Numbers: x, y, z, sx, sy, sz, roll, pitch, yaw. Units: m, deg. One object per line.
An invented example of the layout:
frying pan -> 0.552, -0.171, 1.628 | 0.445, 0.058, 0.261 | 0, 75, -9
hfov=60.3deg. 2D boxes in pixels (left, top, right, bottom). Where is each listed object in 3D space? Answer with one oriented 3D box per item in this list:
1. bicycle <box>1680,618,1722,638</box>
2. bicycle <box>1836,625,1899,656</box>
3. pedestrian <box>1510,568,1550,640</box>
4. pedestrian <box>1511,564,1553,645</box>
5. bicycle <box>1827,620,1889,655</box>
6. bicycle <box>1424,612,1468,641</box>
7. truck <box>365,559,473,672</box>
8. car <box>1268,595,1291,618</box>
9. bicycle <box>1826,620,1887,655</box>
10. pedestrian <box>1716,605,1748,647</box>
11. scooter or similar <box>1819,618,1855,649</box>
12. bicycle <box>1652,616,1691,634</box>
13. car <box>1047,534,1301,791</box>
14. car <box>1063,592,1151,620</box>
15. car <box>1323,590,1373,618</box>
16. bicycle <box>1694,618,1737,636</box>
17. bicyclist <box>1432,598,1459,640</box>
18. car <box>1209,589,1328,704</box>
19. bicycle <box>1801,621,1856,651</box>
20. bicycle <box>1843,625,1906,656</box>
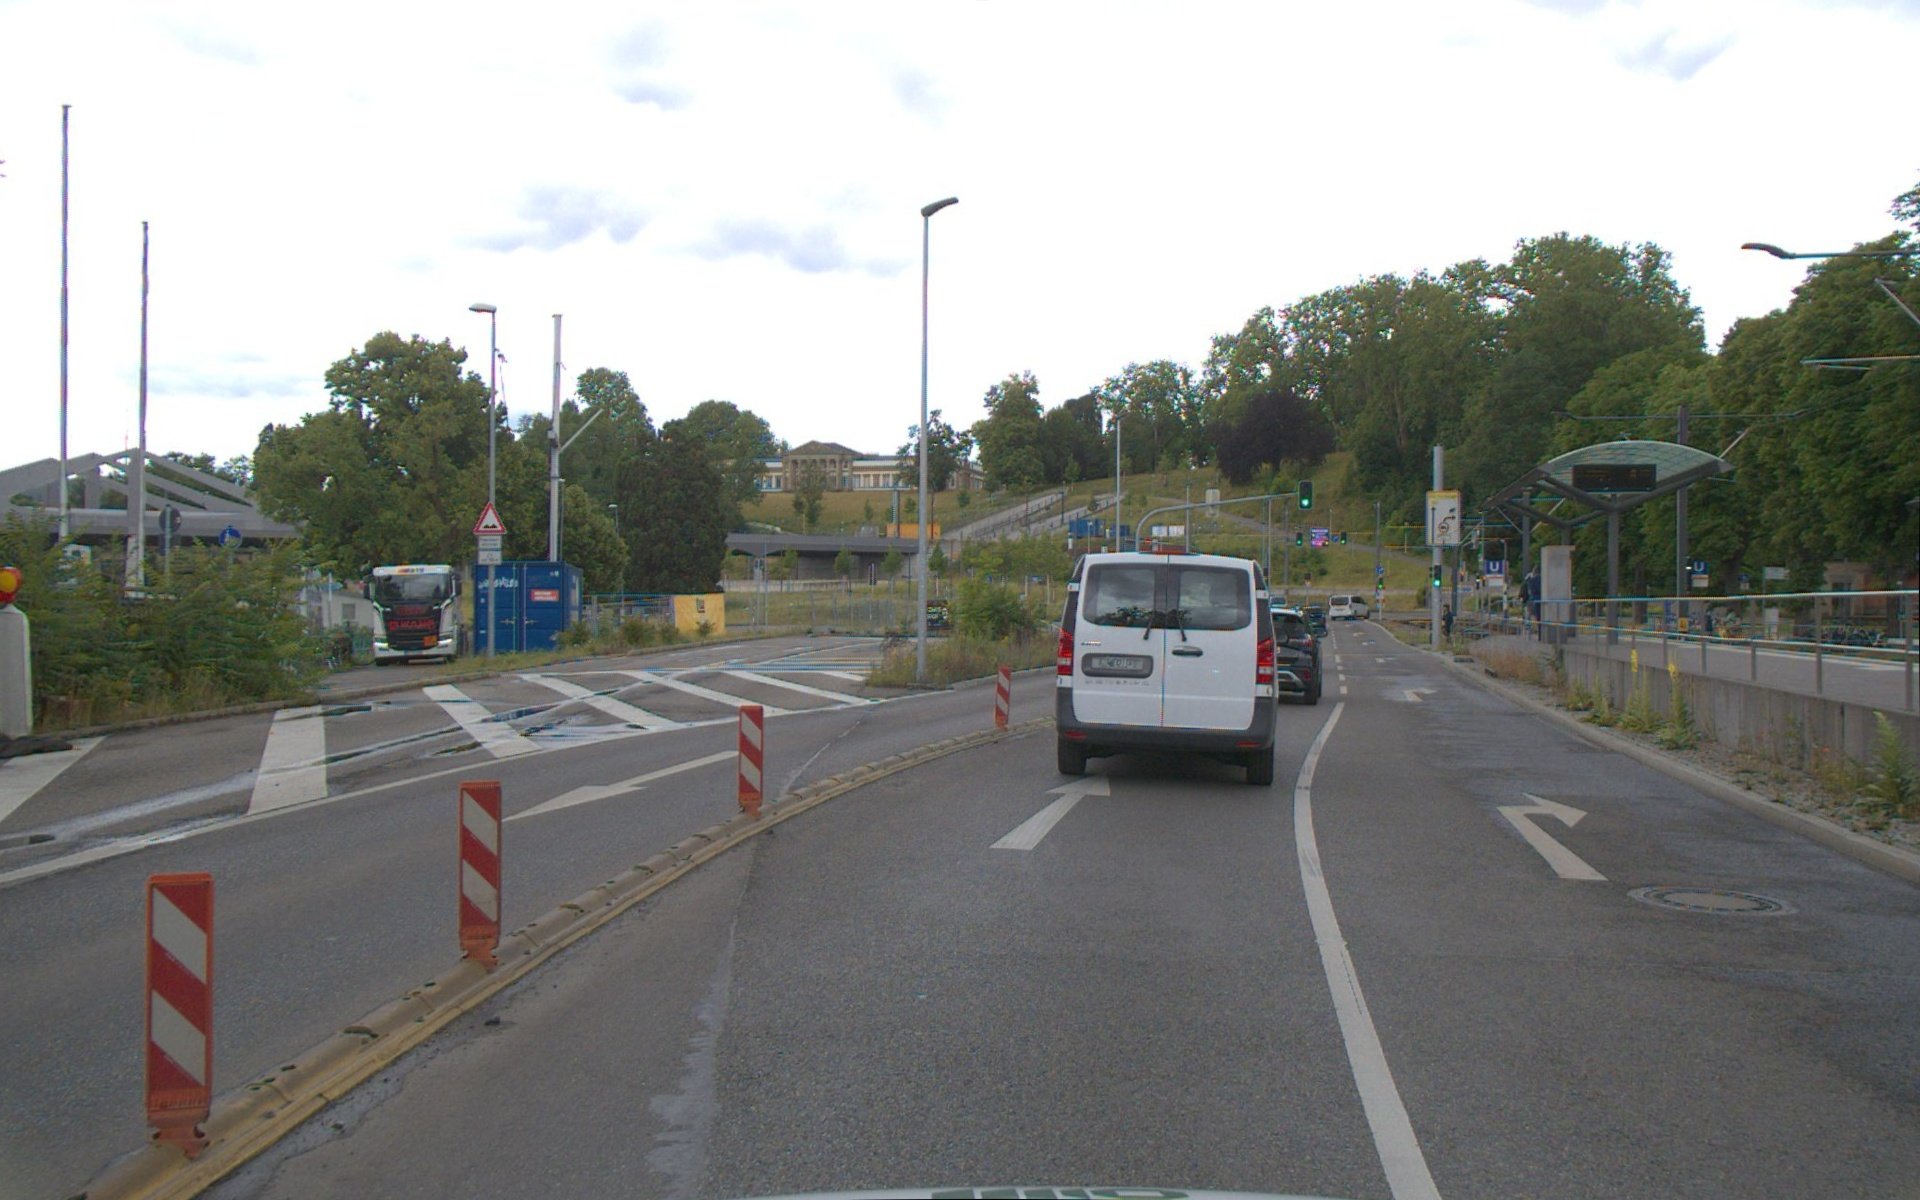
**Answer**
bicycle -> 37.723, 1.404, 84.192 | 1.871, 0.992, 0.531 | -1, -1, 14
bicycle -> 32.012, 1.419, 58.377 | 1.833, 0.980, 0.533 | 2, 0, 14
pedestrian -> 12.893, 0.082, 37.434 | 0.734, 1.580, 0.775 | 2, 2, 14
pedestrian -> 12.678, 0.089, 36.689 | 0.754, 1.729, 0.732 | 2, 2, 14
bicycle -> 32.134, 1.349, 59.209 | 1.833, 1.159, 0.533 | 2, 0, 14
bicycle -> 18.682, 1.021, 63.516 | 1.658, 1.093, 0.615 | 0, 1, -27
truck -> -17.796, 0.465, 54.852 | 2.746, 3.394, 8.446 | -1, 0, -14
car -> 27.227, 0.576, 141.136 | 1.715, 1.803, 4.003 | 2, 0, 9
bicycle -> 32.560, 1.363, 60.090 | 1.833, 1.159, 0.533 | 2, 0, 14
pedestrian -> 30.488, 1.029, 65.305 | 0.817, 1.637, 0.776 | 0, -1, -9
scooter or similar -> 33.545, 1.276, 63.294 | 1.143, 1.159, 0.332 | 2, -1, 38
bicycle -> 38.839, 1.372, 90.347 | 1.871, 0.992, 0.531 | -1, -1, 14
car -> 2.029, 0.499, 15.181 | 1.917, 1.937, 4.465 | 2, 0, 9
car -> 8.317, 0.322, 93.561 | 4.614, 1.503, 1.999 | -1, 0, 23
car -> 30.277, 0.346, 128.977 | 2.162, 2.049, 5.136 | 1, 0, 33
bicycle -> 37.624, 1.353, 82.405 | 1.871, 0.911, 0.531 | -1, -1, 14
bicyclist -> 18.635, 0.733, 63.493 | 0.794, 1.599, 0.613 | 0, 1, -26
car -> 5.295, 0.749, 28.162 | 1.799, 1.759, 4.065 | 2, 0, 12
bicycle -> 32.790, 1.367, 62.454 | 1.726, 1.052, 0.484 | 2, 0, 14
bicycle -> 31.870, 1.421, 57.663 | 1.833, 0.980, 0.533 | 2, 0, 14
